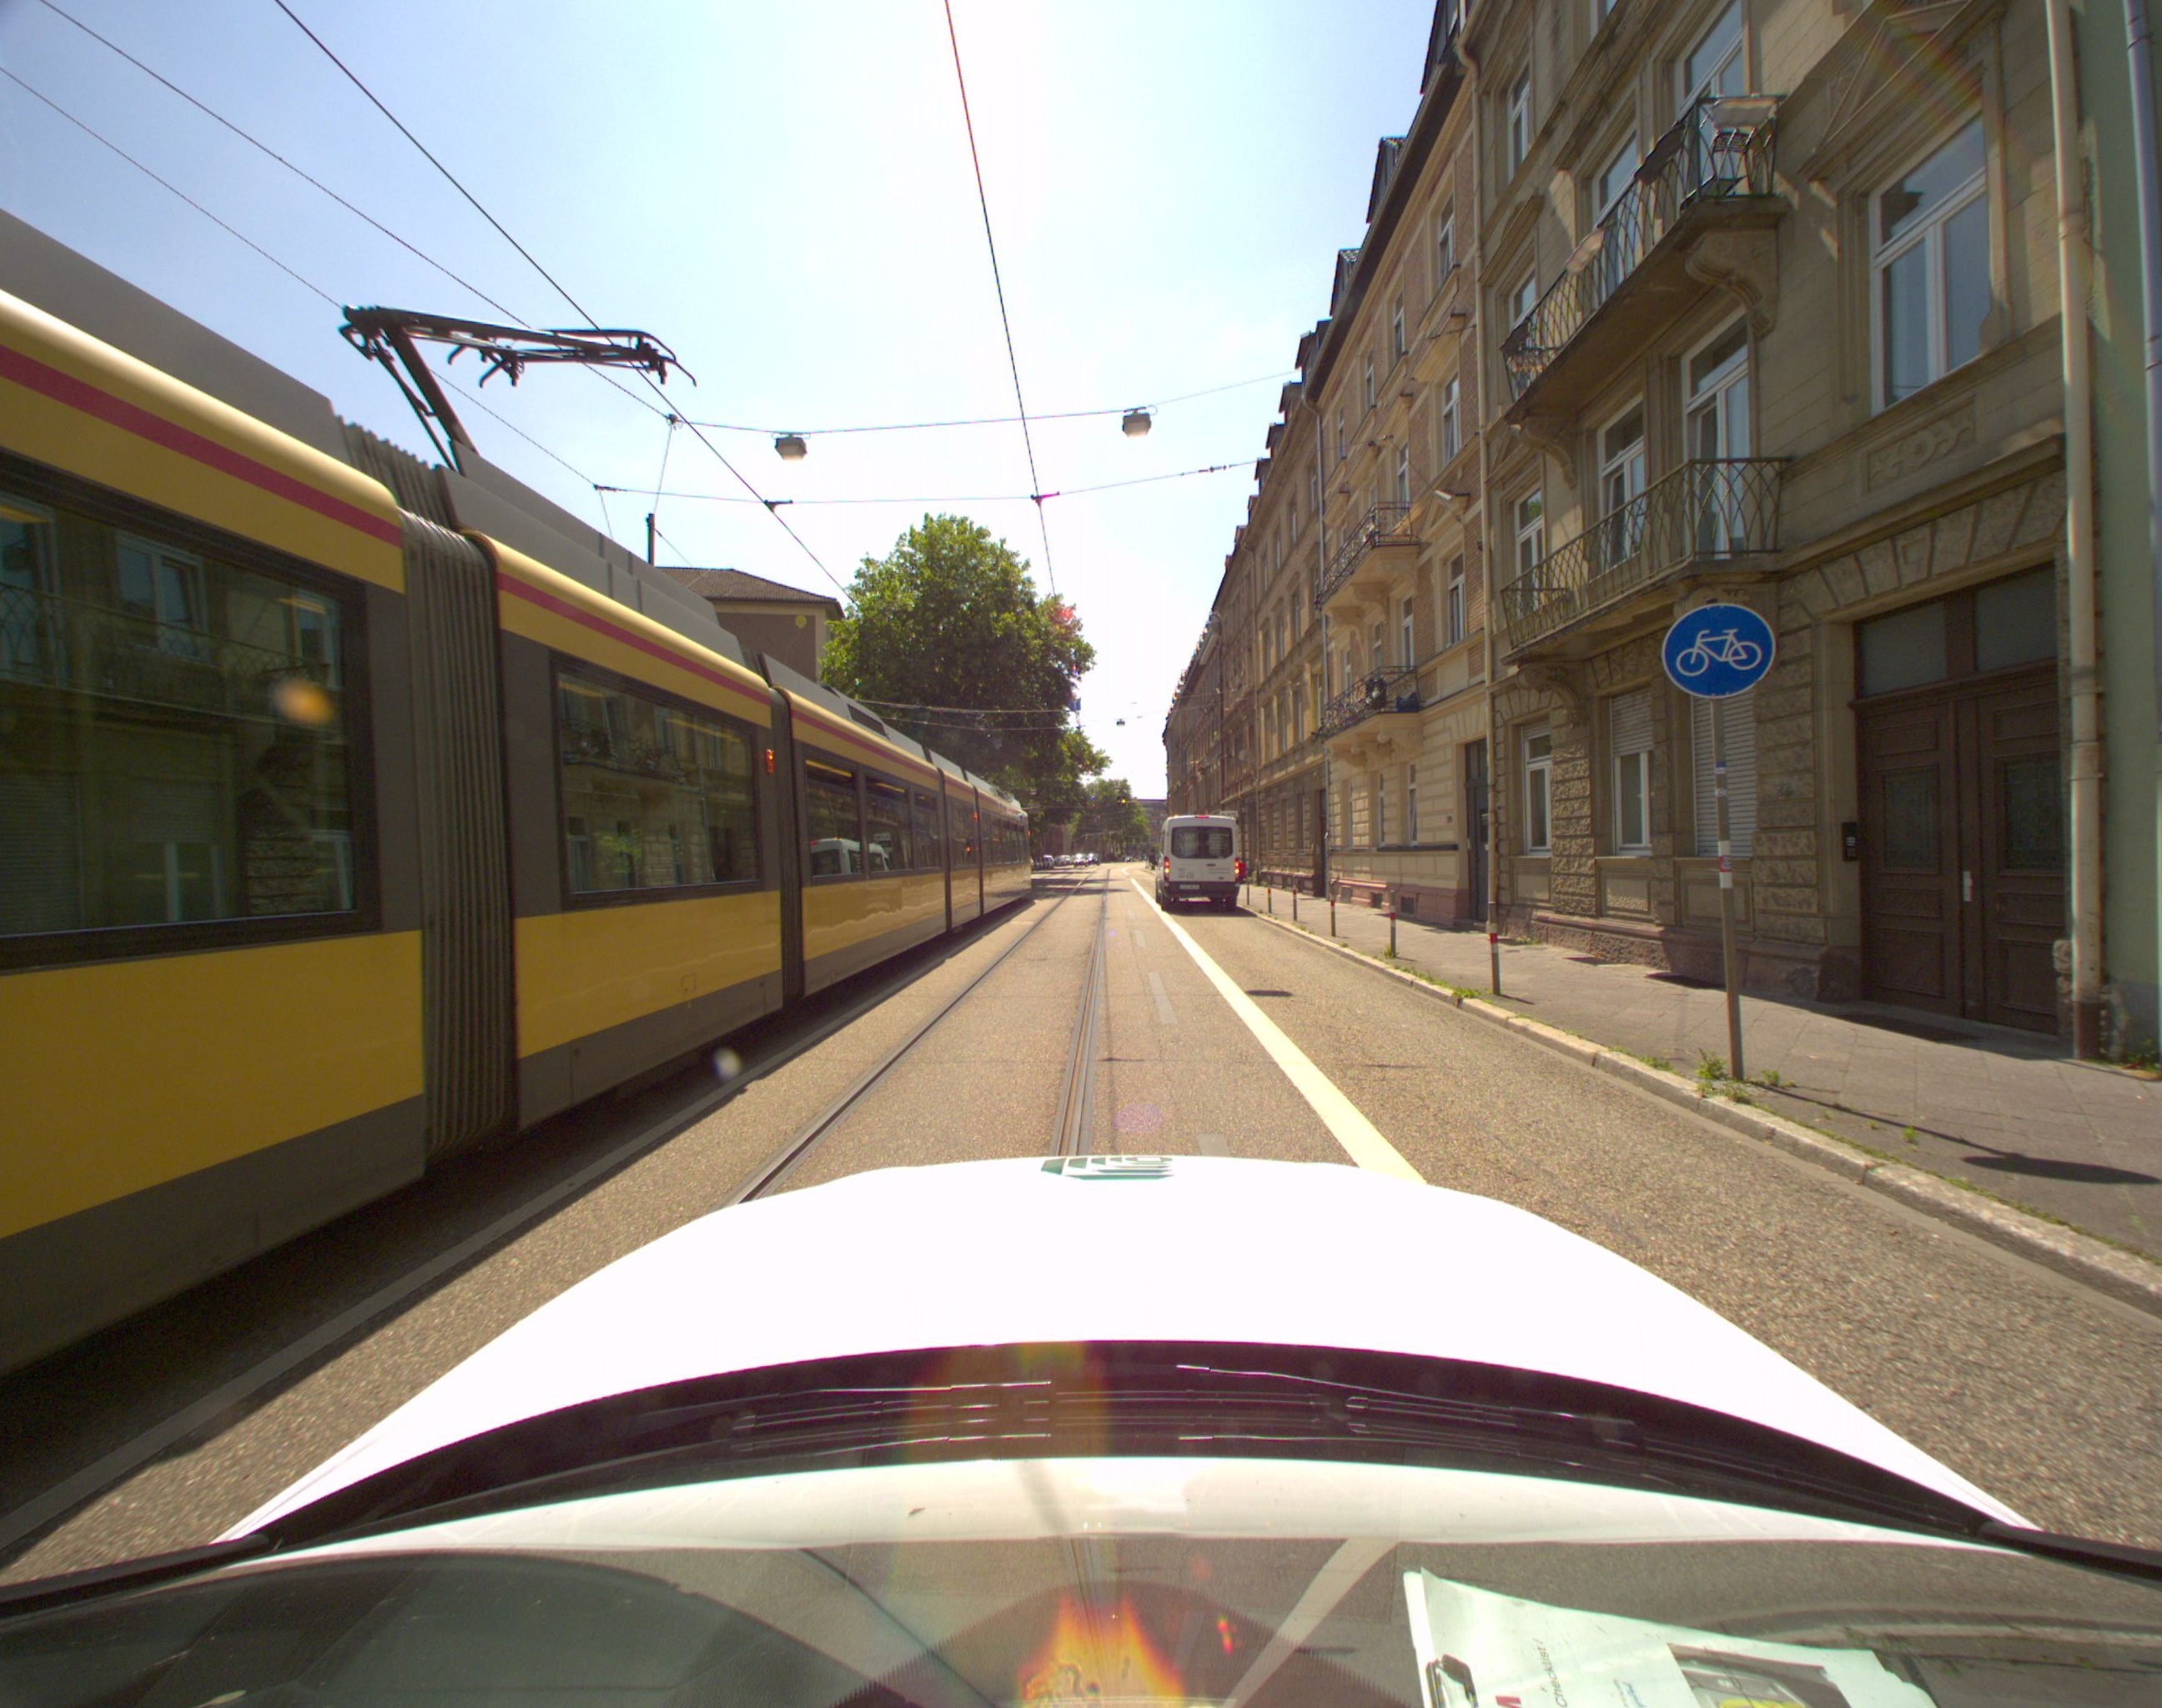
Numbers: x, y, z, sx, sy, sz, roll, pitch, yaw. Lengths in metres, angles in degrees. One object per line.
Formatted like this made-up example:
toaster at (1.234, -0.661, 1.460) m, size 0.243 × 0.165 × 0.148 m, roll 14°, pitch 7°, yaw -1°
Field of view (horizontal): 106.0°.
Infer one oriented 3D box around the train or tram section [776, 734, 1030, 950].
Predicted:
train or tram section at (-3.420, -0.195, 20.370) m, size 2.949 × 3.580 × 13.428 m, roll -1°, pitch 0°, yaw 2°

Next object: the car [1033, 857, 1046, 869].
car at (-5.069, 1.116, 100.348) m, size 1.450 × 1.496 × 3.662 m, roll 0°, pitch 0°, yaw 0°

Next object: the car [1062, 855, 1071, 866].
car at (-2.427, 1.102, 134.006) m, size 1.450 × 1.731 × 3.193 m, roll 0°, pitch 0°, yaw 0°

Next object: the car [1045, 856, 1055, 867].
car at (-4.720, 1.097, 123.432) m, size 1.450 × 1.731 × 3.193 m, roll 0°, pitch 0°, yaw 0°

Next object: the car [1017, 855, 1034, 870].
car at (-5.698, 0.855, 84.159) m, size 1.450 × 1.496 × 3.662 m, roll 0°, pitch 0°, yaw 0°

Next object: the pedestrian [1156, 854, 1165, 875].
pedestrian at (5.787, 0.753, 59.026) m, size 0.616 × 1.539 × 0.464 m, roll 0°, pitch 0°, yaw 0°

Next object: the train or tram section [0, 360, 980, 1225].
train or tram section at (-3.784, -0.243, 10.111) m, size 2.949 × 3.580 × 13.428 m, roll -1°, pitch 0°, yaw 2°

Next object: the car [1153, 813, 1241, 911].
car at (3.214, 0.207, 23.530) m, size 2.059 × 2.501 × 5.459 m, roll 0°, pitch 0°, yaw 3°

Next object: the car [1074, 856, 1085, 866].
car at (-0.238, 1.015, 113.727) m, size 1.523 × 1.408 × 3.489 m, roll 0°, pitch 0°, yaw 0°

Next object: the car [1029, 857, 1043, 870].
car at (-5.190, 1.099, 94.629) m, size 1.450 × 1.496 × 3.662 m, roll 0°, pitch 0°, yaw 0°

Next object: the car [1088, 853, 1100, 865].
car at (1.923, 0.746, 120.937) m, size 1.669 × 1.860 × 3.999 m, roll 0°, pitch 0°, yaw -1°
